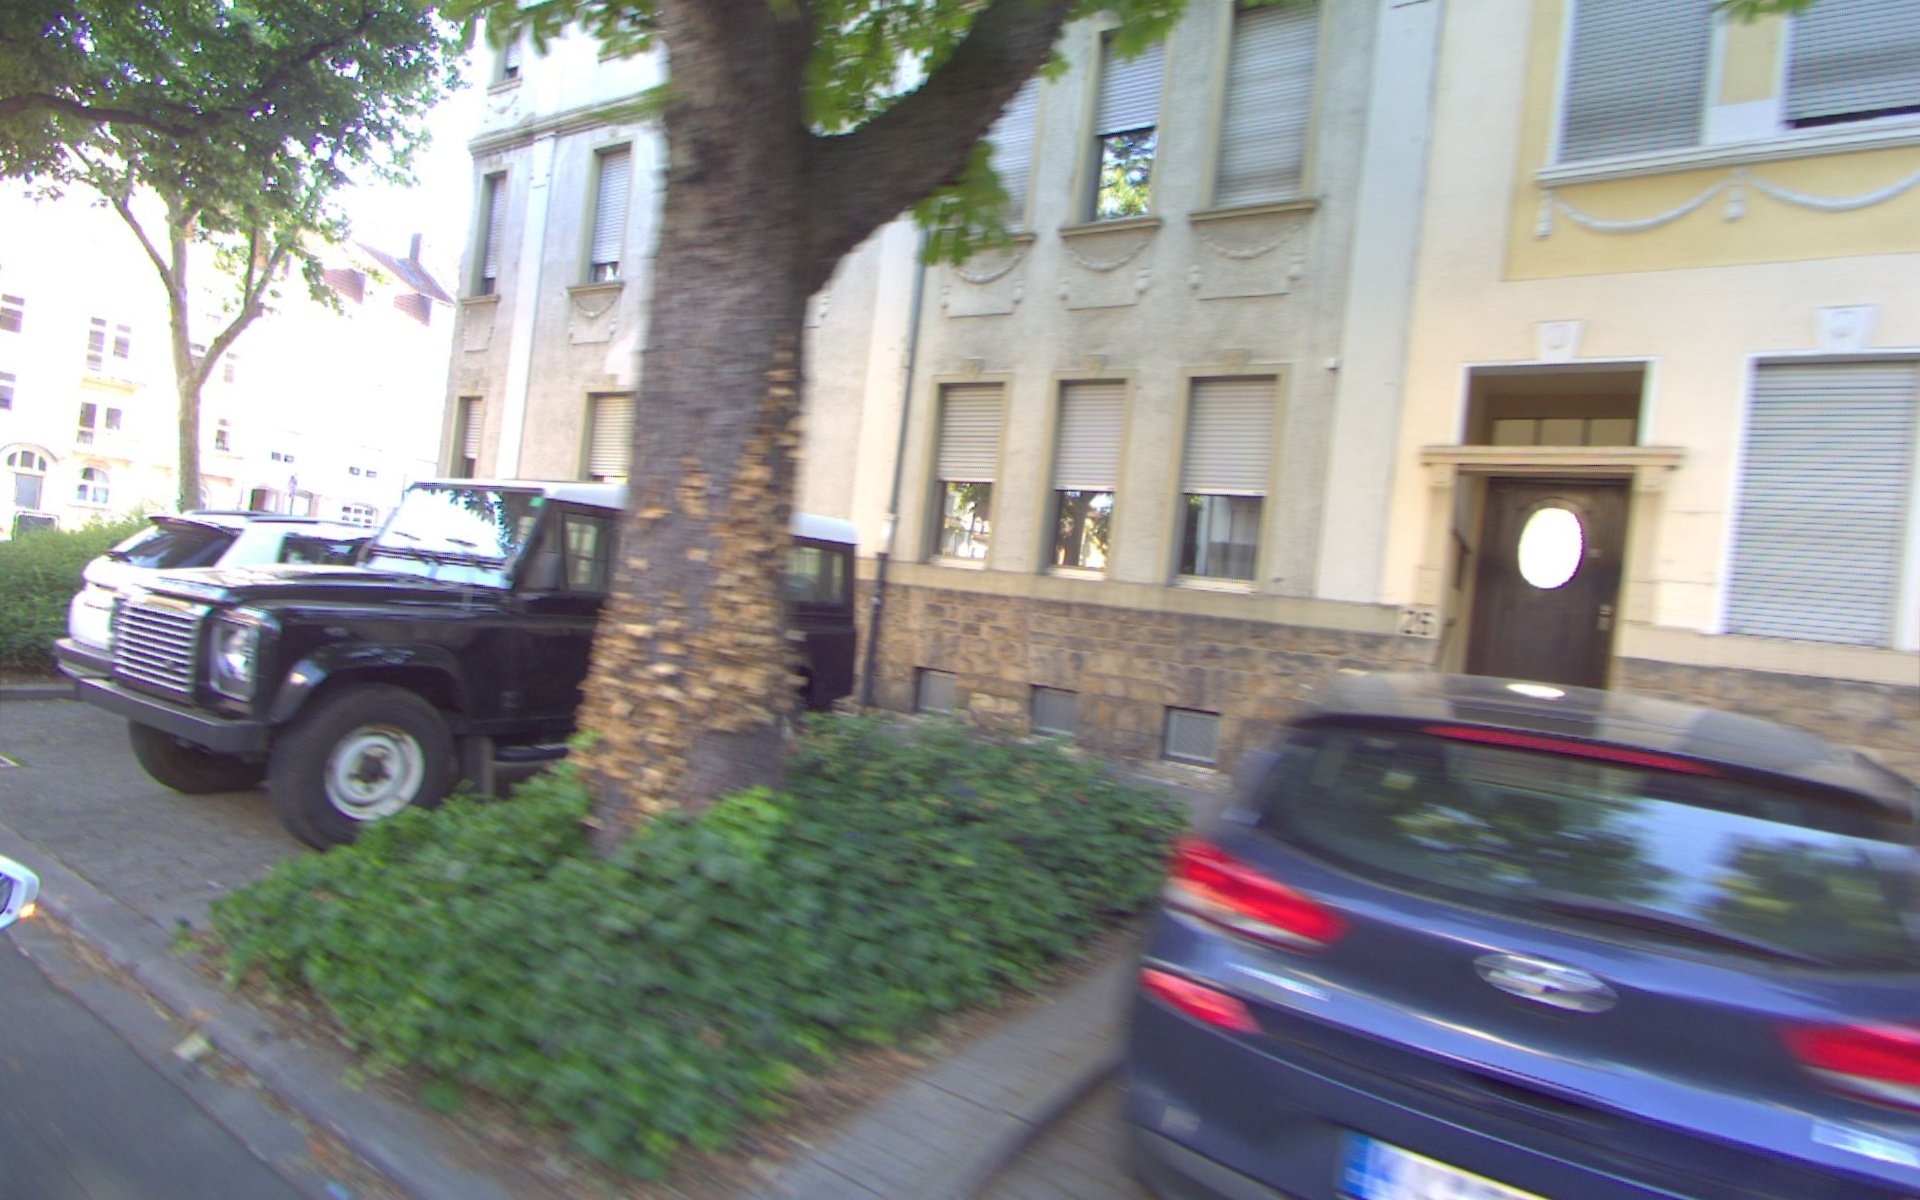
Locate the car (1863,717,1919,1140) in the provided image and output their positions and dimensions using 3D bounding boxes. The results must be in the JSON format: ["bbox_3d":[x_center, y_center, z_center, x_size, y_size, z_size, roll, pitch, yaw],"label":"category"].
[{"bbox_3d":[3.423,1.158,1.921,1.601,1.440,4.053,6,0,30],"label":"car"}]

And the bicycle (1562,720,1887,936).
[{"bbox_3d":[5.315,1.549,7.132,1.676,1.090,0.500,7,2,33],"label":"bicycle"}]

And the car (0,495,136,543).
[{"bbox_3d":[-30.786,-2.777,34.659,1.357,1.081,3.369,7,-1,32],"label":"car"}]

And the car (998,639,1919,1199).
[{"bbox_3d":[1.739,0.960,3.261,1.601,1.440,3.753,6,0,30],"label":"car"}]

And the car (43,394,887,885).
[{"bbox_3d":[-2.548,0.183,6.422,1.763,1.981,4.495,7,1,30],"label":"car"}]

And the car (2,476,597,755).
[{"bbox_3d":[-4.906,0.144,7.991,1.681,1.606,3.488,7,0,27],"label":"car"}]
